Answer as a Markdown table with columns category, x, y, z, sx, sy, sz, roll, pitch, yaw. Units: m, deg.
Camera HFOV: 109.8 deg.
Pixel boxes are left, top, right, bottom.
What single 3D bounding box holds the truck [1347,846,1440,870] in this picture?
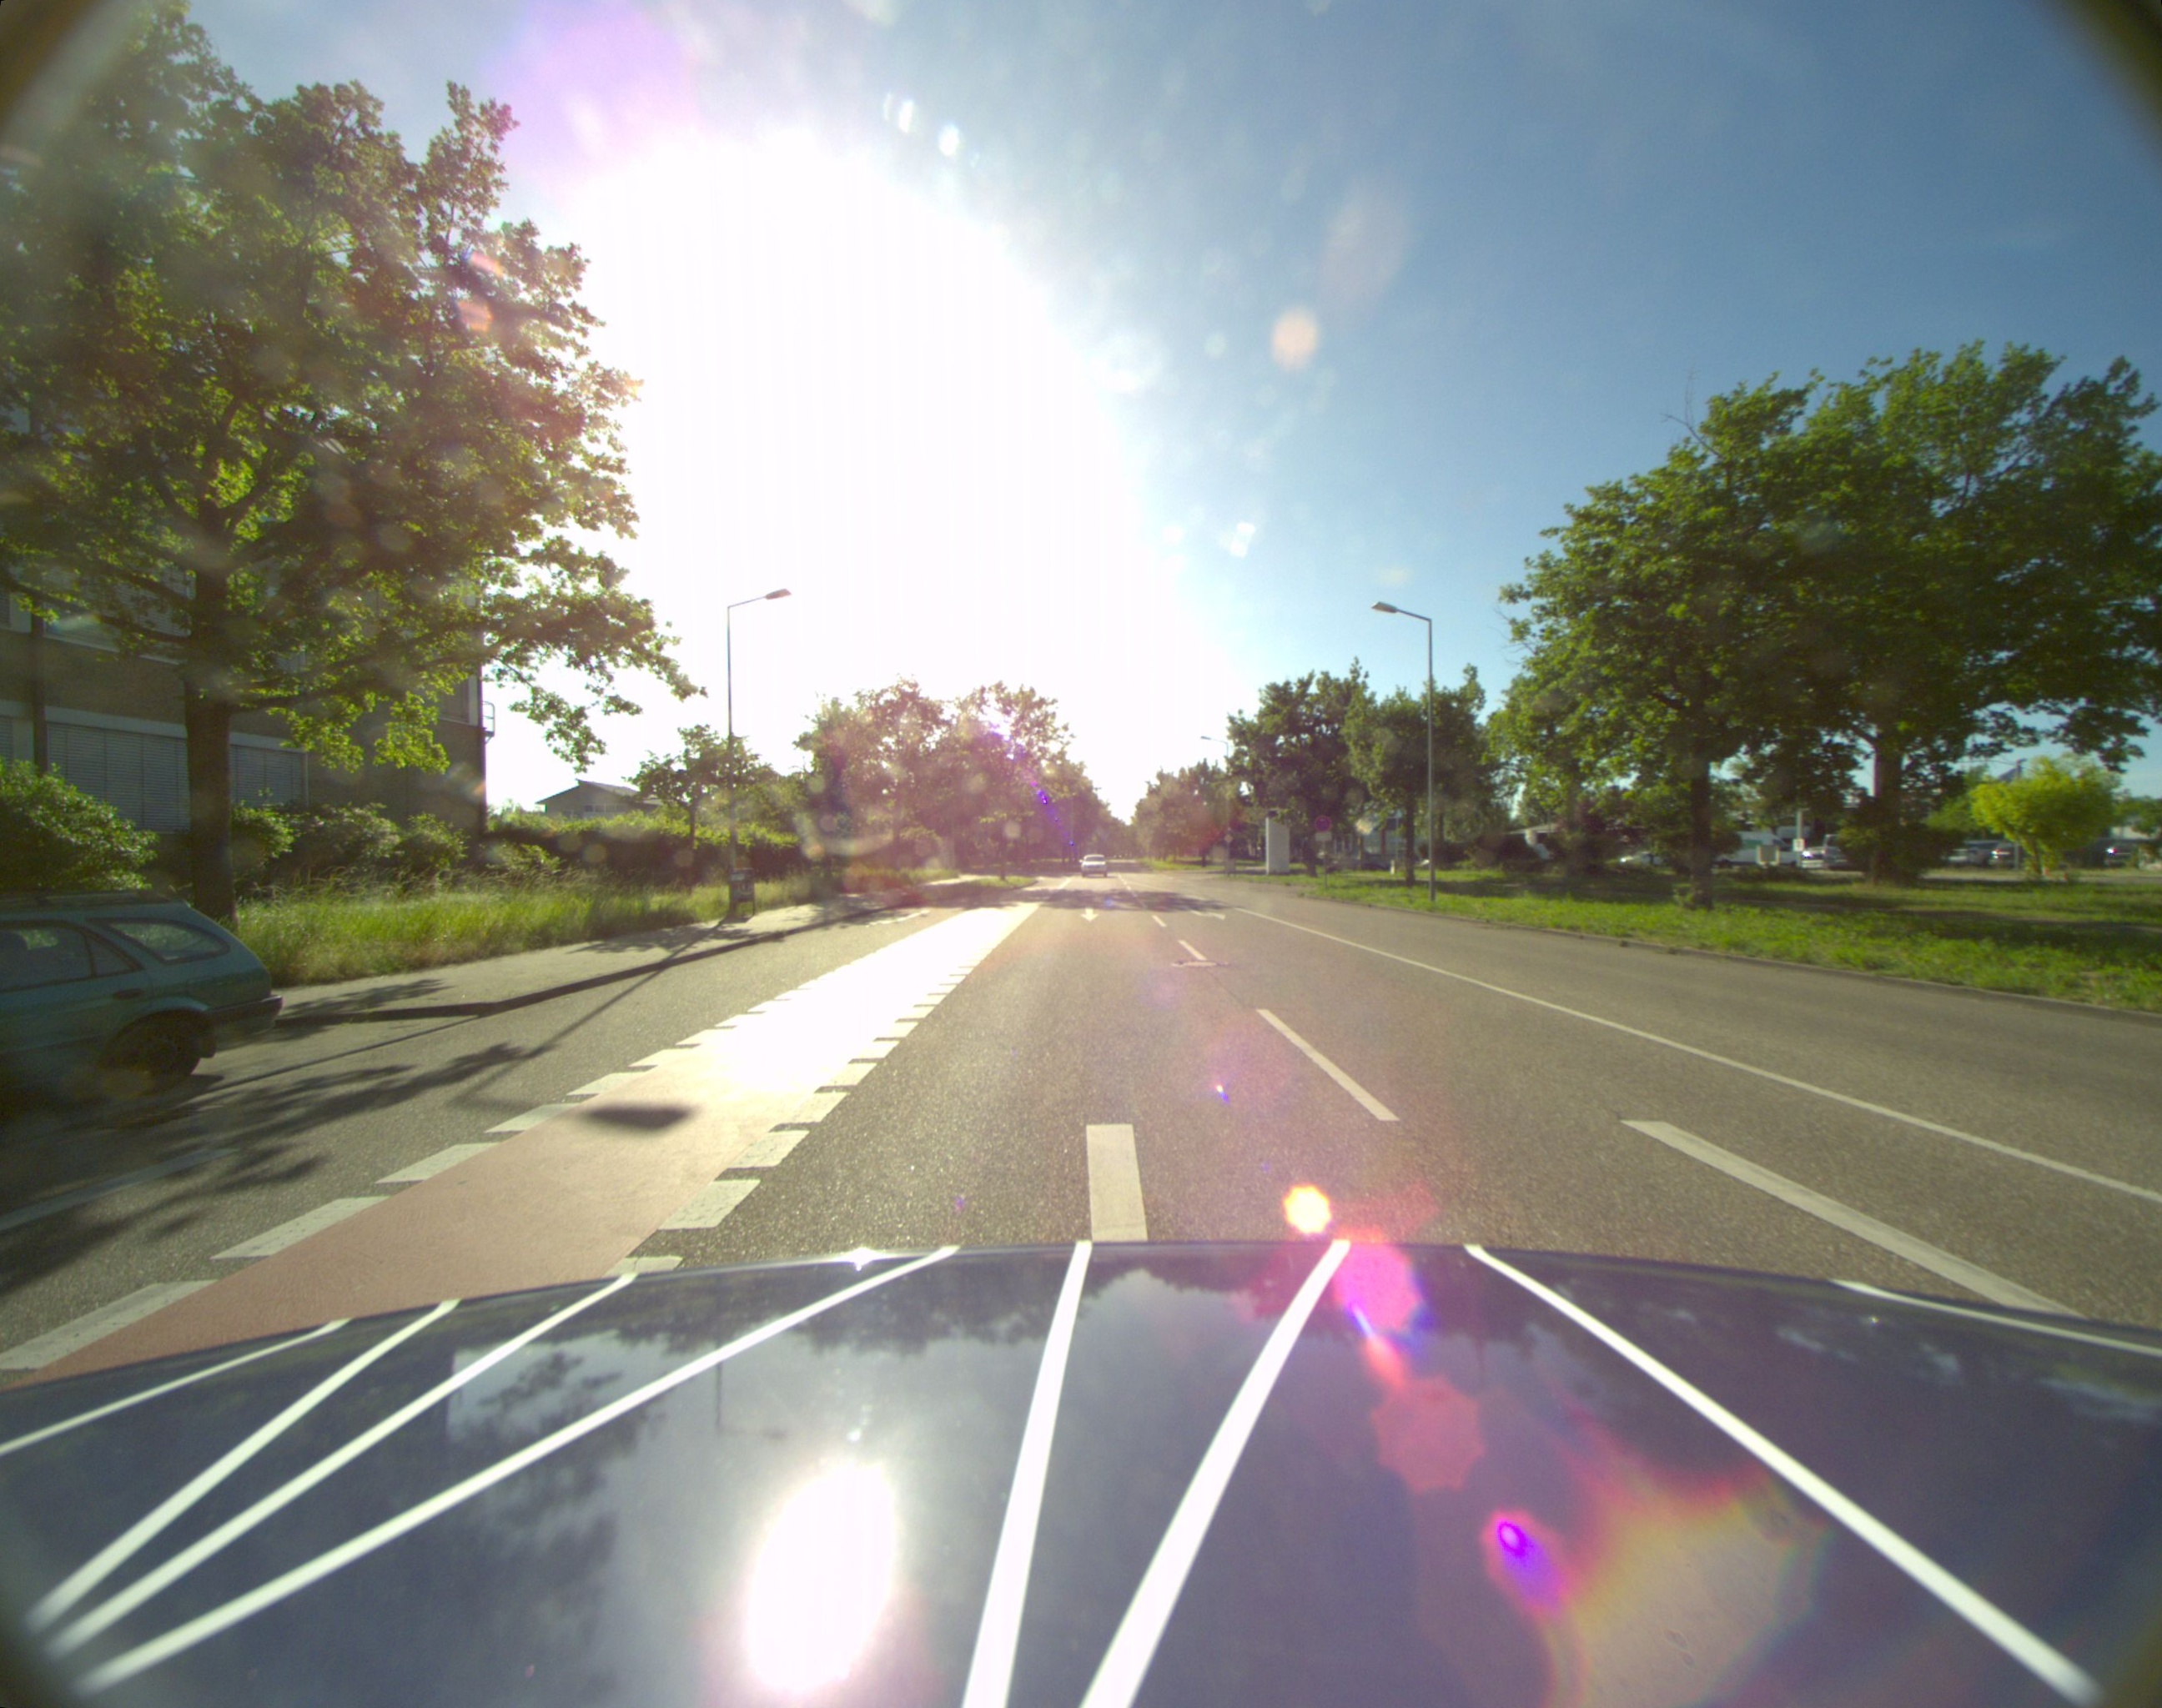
| category | x | y | z | sx | sy | sz | roll | pitch | yaw |
| --- | --- | --- | --- | --- | --- | --- | --- | --- | --- |
| truck | 26.806 | 0.318 | 65.322 | 7.130 | 2.038 | 2.140 | 0 | 1 | -2 |

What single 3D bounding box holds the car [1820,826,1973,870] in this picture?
| category | x | y | z | sx | sy | sz | roll | pitch | yaw |
| --- | --- | --- | --- | --- | --- | --- | --- | --- | --- |
| car | 40.736 | -0.298 | 38.045 | 5.424 | 2.058 | 2.300 | -1 | 1 | -3 |

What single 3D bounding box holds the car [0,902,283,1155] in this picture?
| category | x | y | z | sx | sy | sz | roll | pitch | yaw |
| --- | --- | --- | --- | --- | --- | --- | --- | --- | --- |
| car | -7.461 | 1.142 | 4.199 | 1.596 | 1.420 | 4.203 | 1 | 1 | 2 |

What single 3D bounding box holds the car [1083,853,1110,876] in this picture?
| category | x | y | z | sx | sy | sz | roll | pitch | yaw |
| --- | --- | --- | --- | --- | --- | --- | --- | --- | --- |
| car | 1.086 | 0.703 | 53.588 | 1.827 | 1.477 | 3.999 | -2 | 1 | 1 |

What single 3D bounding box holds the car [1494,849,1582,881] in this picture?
| category | x | y | z | sx | sy | sz | roll | pitch | yaw |
| --- | --- | --- | --- | --- | --- | --- | --- | --- | --- |
| car | 39.907 | 0.926 | 66.433 | 6.356 | 2.501 | 2.300 | -2 | 1 | -3 |

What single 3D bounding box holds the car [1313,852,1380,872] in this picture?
| category | x | y | z | sx | sy | sz | roll | pitch | yaw |
| --- | --- | --- | --- | --- | --- | --- | --- | --- | --- |
| car | 20.904 | 0.653 | 59.948 | 4.586 | 1.395 | 1.999 | 2 | 0 | -5 |

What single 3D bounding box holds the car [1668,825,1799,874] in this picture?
| category | x | y | z | sx | sy | sz | roll | pitch | yaw |
| --- | --- | --- | --- | --- | --- | --- | --- | --- | --- |
| car | 39.624 | -0.290 | 46.230 | 6.176 | 2.687 | 2.300 | -2 | 1 | -3 |

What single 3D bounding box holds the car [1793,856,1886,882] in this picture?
| category | x | y | z | sx | sy | sz | roll | pitch | yaw |
| --- | --- | --- | --- | --- | --- | --- | --- | --- | --- |
| car | 41.132 | 0.781 | 41.245 | 3.532 | 1.294 | 1.574 | -1 | 1 | -2 |
